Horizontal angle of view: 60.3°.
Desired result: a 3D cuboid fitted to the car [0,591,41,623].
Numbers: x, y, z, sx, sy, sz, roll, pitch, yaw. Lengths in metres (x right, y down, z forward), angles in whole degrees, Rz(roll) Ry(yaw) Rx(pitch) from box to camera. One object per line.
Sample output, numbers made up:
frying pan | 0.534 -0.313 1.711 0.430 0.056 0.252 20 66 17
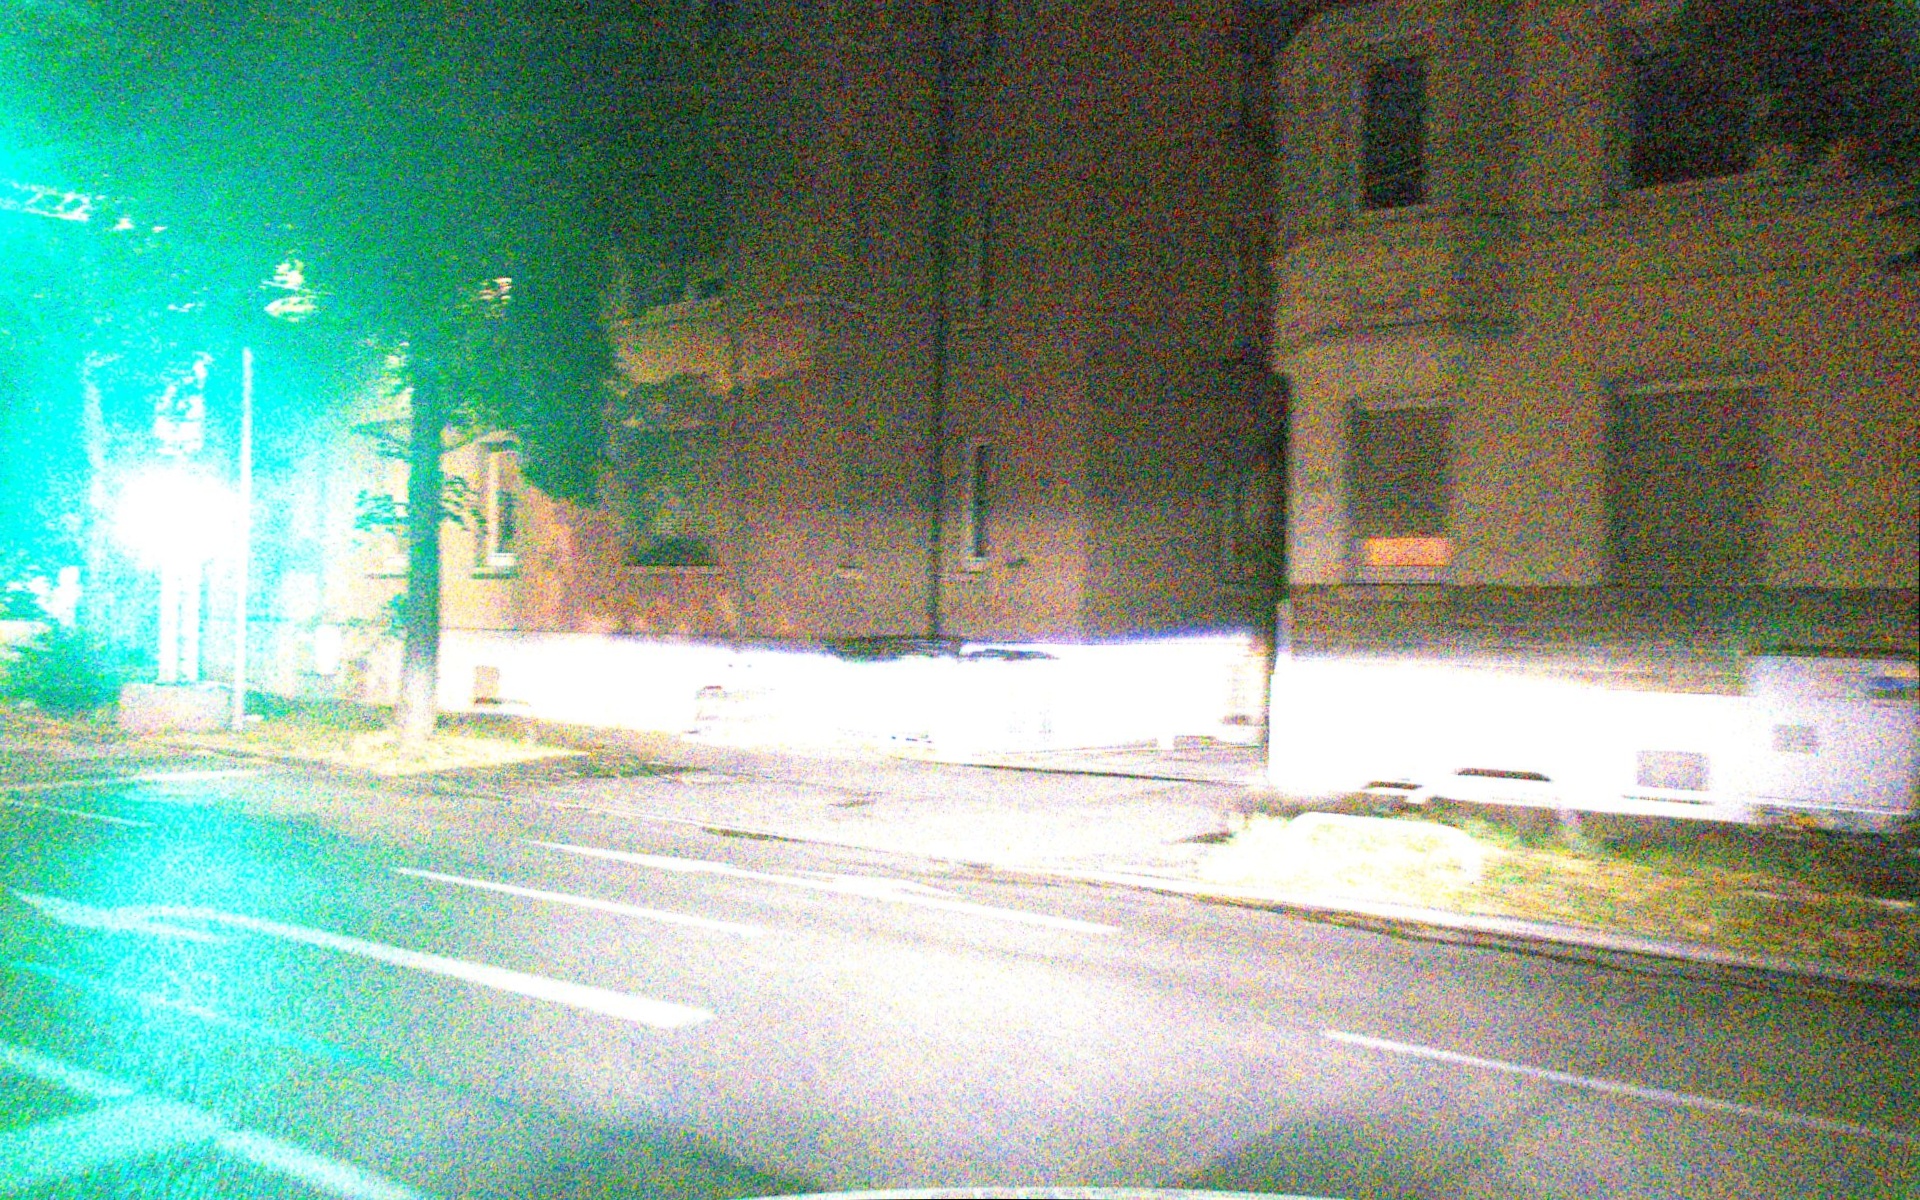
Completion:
car | -47.486 0.324 83.305 1.718 1.485 4.673 3 -1 -33
